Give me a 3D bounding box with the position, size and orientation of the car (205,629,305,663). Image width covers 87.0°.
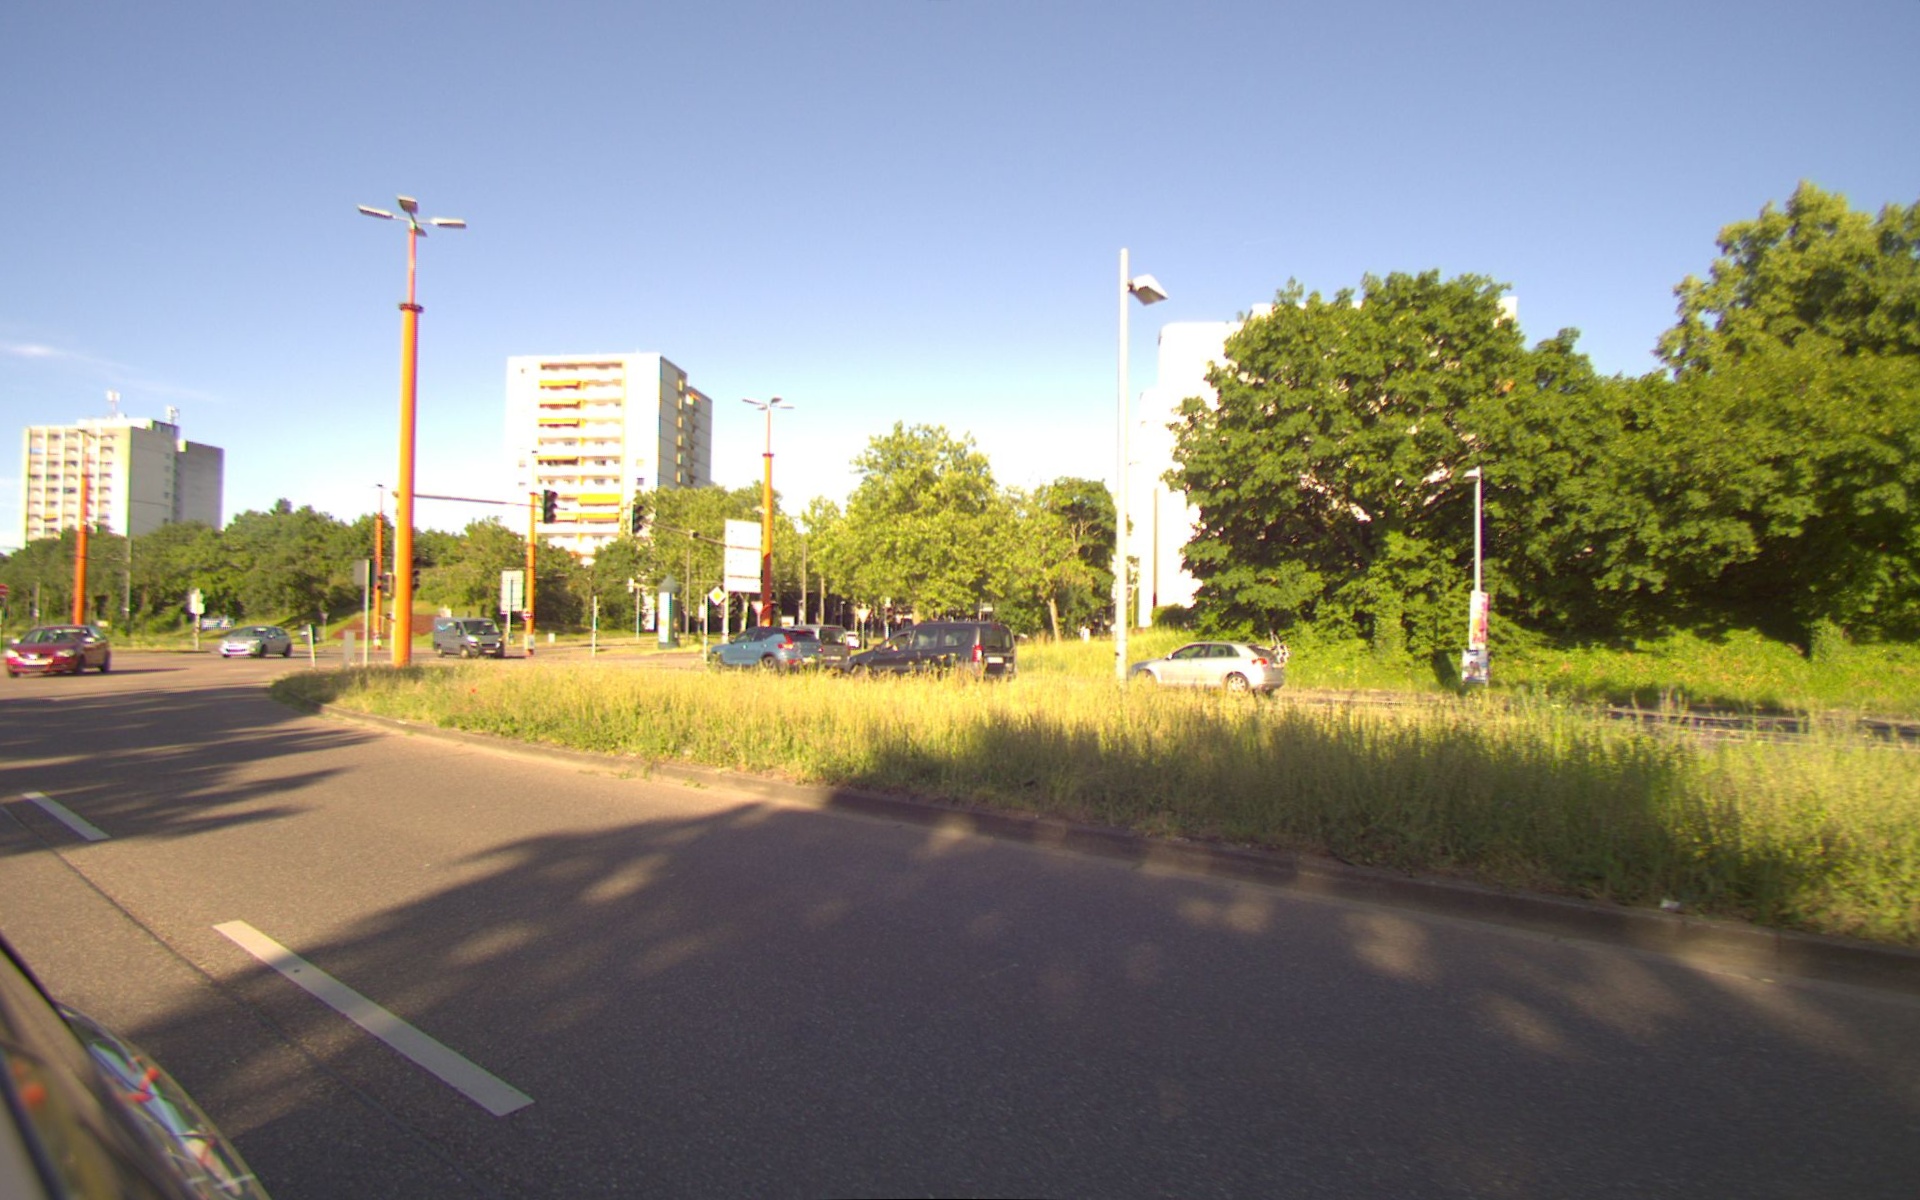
[{"bbox_3d":[-33.694,2.178,48.564,1.885,1.570,4.732,0,-2,-6],"label":"car"}]

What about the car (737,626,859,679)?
[{"bbox_3d":[-5.909,1.880,36.665,4.443,1.789,1.879,-1,-4,40],"label":"car"}]

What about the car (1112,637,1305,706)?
[{"bbox_3d":[6.418,1.822,26.400,4.561,1.623,1.879,-1,-4,40],"label":"car"}]

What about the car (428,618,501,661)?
[{"bbox_3d":[-26.830,2.122,54.672,2.010,2.221,5.668,1,-2,-42],"label":"car"}]

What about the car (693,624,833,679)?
[{"bbox_3d":[-6.309,1.624,32.105,4.561,1.623,1.879,-1,-4,40],"label":"car"}]

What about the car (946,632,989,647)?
[{"bbox_3d":[0.787,4.021,103.118,3.980,1.498,1.820,1,-3,-29],"label":"car"}]

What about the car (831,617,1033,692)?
[{"bbox_3d":[-0.713,1.234,23.314,4.561,1.577,1.879,-1,-4,40],"label":"car"}]

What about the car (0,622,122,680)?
[{"bbox_3d":[-26.388,1.469,29.765,1.742,1.570,4.741,1,-2,-28],"label":"car"}]
